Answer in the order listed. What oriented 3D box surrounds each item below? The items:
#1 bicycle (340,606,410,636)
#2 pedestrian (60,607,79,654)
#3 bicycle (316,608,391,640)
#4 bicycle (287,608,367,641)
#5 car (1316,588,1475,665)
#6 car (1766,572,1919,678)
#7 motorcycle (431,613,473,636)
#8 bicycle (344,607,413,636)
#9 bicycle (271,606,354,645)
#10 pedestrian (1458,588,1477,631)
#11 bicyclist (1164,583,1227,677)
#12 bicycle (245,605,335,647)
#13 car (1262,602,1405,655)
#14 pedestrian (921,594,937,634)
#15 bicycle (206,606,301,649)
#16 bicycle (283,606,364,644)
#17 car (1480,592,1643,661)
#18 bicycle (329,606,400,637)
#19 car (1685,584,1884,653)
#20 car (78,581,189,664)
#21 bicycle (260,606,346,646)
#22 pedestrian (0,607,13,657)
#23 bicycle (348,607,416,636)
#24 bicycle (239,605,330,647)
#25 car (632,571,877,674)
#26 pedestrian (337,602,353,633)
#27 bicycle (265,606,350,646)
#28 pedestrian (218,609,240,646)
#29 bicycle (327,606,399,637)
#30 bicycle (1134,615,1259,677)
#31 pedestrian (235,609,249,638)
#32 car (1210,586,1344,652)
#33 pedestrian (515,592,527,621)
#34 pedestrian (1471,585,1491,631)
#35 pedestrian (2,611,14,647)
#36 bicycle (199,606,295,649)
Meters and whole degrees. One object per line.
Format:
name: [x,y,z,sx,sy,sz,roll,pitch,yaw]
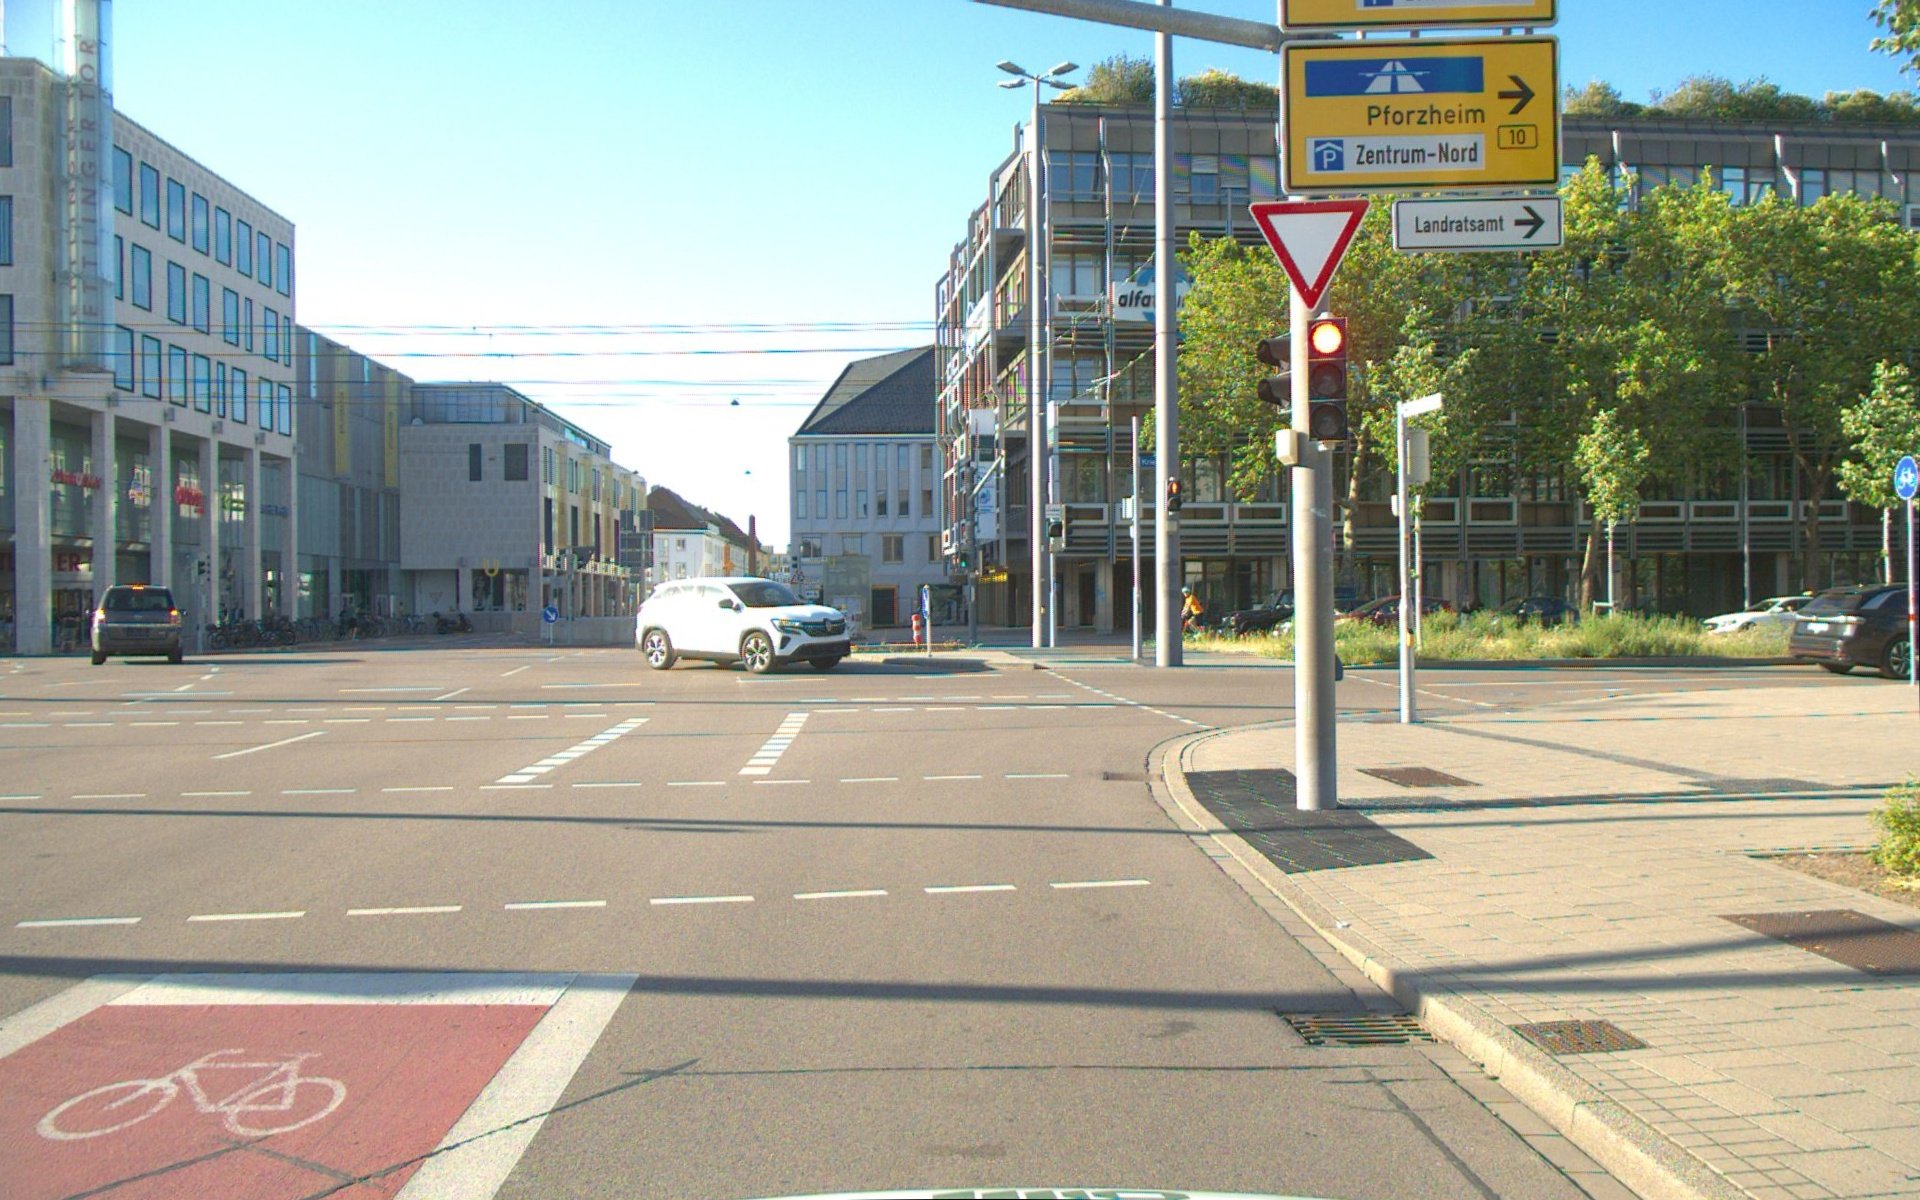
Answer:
bicycle: [-31.480,1.138,89.021,3.430,1.554,0.984,-1,0,-12]
pedestrian: [-32.596,1.114,60.560,0.533,1.671,0.546,-1,0,-23]
bicycle: [-30.884,1.213,84.268,3.430,1.554,0.984,-1,0,-12]
bicycle: [-30.542,1.172,79.859,3.430,1.554,0.984,-1,0,-12]
car: [12.231,0.736,46.580,3.908,2.049,1.999,1,0,-3]
car: [16.384,0.360,27.758,4.842,1.629,1.998,-1,2,-6]
motorcycle: [-29.954,1.436,97.596,2.230,1.341,0.719,-1,0,-6]
bicycle: [-31.783,1.168,90.403,3.430,1.554,0.984,-1,0,-12]
bicycle: [-30.039,1.180,76.784,3.430,1.726,0.984,-1,0,-12]
pedestrian: [19.343,0.359,63.055,0.529,1.618,0.586,-1,0,-3]
bicyclist: [6.718,0.835,47.225,1.539,2.625,0.930,-1,0,-10]
bicycle: [-29.099,1.124,71.927,3.427,1.726,1.114,-1,0,-10]
car: [11.439,0.867,50.817,3.908,1.534,1.867,1,0,-4]
pedestrian: [-1.310,0.575,69.482,0.650,1.687,0.755,-1,0,-4]
bicycle: [-29.555,1.143,69.240,3.427,1.726,1.114,-1,0,-10]
bicycle: [-30.337,1.189,78.869,3.430,1.726,0.984,-1,0,-12]
car: [18.827,0.824,51.881,4.359,2.049,1.998,1,0,-6]
bicycle: [-31.389,1.109,87.247,3.430,1.554,0.984,-1,0,-12]
car: [26.172,0.582,52.577,5.332,2.049,2.096,1,0,-3]
car: [-17.815,0.452,35.789,1.969,1.635,4.444,2,0,-26]
bicycle: [-29.574,1.169,74.496,3.430,1.726,0.984,-1,0,-12]
pedestrian: [-35.701,1.184,61.340,0.742,1.829,0.736,-1,0,-4]
bicycle: [-31.947,1.198,91.427,3.430,1.554,0.984,-1,0,-12]
bicycle: [-28.868,1.088,70.715,3.427,1.726,1.114,-1,0,-10]
car: [-3.718,0.358,29.478,4.326,1.689,1.989,0,1,41]
pedestrian: [-33.687,0.951,90.596,0.641,1.671,0.693,-1,0,-9]
bicycle: [-29.798,1.179,75.584,3.430,1.726,0.984,-1,0,-12]
pedestrian: [-33.282,1.231,75.300,0.770,1.671,0.693,-1,0,-12]
bicycle: [-31.072,1.121,86.130,3.430,1.554,0.984,-1,0,-12]
bicycle: [6.747,1.304,47.225,3.427,1.688,0.929,-1,0,-10]
pedestrian: [-36.600,1.173,84.284,0.629,1.460,0.472,-1,0,-23]
car: [10.304,0.601,53.921,3.908,2.049,1.999,1,0,-3]
pedestrian: [-31.389,0.489,118.187,0.613,2.049,0.734,-1,0,1]
pedestrian: [19.624,0.299,62.326,0.529,1.698,0.536,-1,0,-3]
pedestrian: [-39.269,1.203,68.208,0.383,1.451,0.496,-1,0,-36]
bicycle: [-29.322,1.114,68.035,3.427,1.726,1.114,-1,0,-10]
